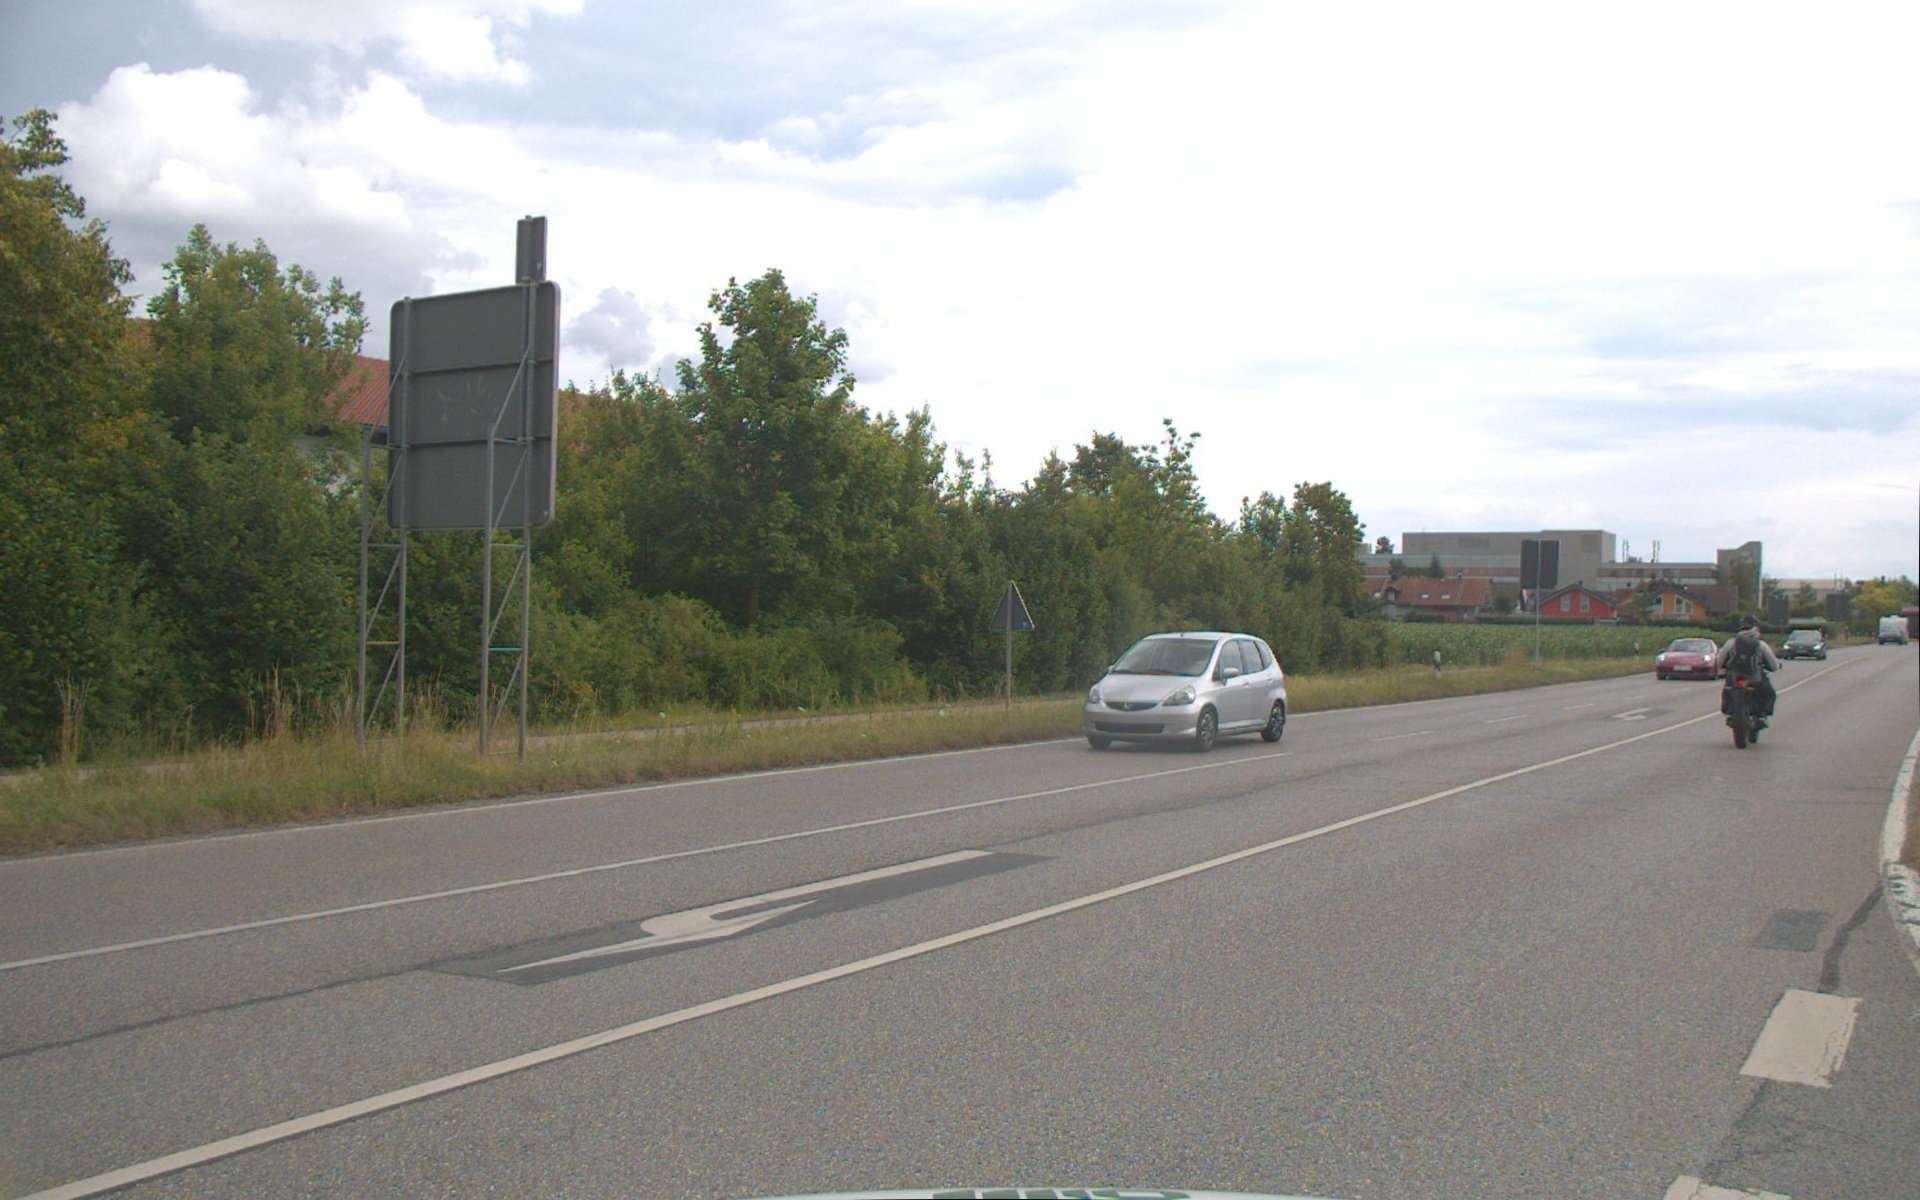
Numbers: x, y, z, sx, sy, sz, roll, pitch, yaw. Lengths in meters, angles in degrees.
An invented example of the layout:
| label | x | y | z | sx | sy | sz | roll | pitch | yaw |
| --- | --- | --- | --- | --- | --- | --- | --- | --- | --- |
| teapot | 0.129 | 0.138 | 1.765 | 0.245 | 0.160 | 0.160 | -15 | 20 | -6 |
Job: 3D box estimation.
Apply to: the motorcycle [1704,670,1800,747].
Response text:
| label | x | y | z | sx | sy | sz | roll | pitch | yaw |
| --- | --- | --- | --- | --- | --- | --- | --- | --- | --- |
| motorcycle | 10.679 | 1.436 | 22.259 | 0.924 | 0.905 | 2.140 | 1 | -1 | 32 |

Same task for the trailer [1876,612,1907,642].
| label | x | y | z | sx | sy | sz | roll | pitch | yaw |
| --- | --- | --- | --- | --- | --- | --- | --- | --- | --- |
| trailer | 91.013 | 2.653 | 161.522 | 2.283 | 2.777 | 7.821 | 0 | -1 | 32 |

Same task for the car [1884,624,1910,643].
| label | x | y | z | sx | sy | sz | roll | pitch | yaw |
| --- | --- | --- | --- | --- | --- | --- | --- | --- | --- |
| car | 88.301 | 3.123 | 155.919 | 1.957 | 1.729 | 4.663 | 1 | -1 | 32 |

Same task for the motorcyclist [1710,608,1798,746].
| label | x | y | z | sx | sy | sz | roll | pitch | yaw |
| --- | --- | --- | --- | --- | --- | --- | --- | --- | --- |
| motorcyclist | 10.709 | 1.019 | 22.294 | 0.924 | 1.780 | 1.197 | 1 | -1 | 32 |

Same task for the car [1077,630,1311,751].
| label | x | y | z | sx | sy | sz | roll | pitch | yaw |
| --- | --- | --- | --- | --- | --- | --- | --- | --- | --- |
| car | 3.212 | 1.135 | 22.113 | 1.698 | 1.457 | 3.925 | -1 | -1 | 31 |

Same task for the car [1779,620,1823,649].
| label | x | y | z | sx | sy | sz | roll | pitch | yaw |
| --- | --- | --- | --- | --- | --- | --- | --- | --- | --- |
| car | 43.351 | 1.758 | 85.220 | 1.638 | 1.454 | 4.292 | -1 | -1 | 31 |

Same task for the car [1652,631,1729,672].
| label | x | y | z | sx | sy | sz | roll | pitch | yaw |
| --- | --- | --- | --- | --- | --- | --- | --- | --- | --- |
| car | 24.082 | 1.661 | 54.440 | 1.739 | 1.263 | 4.200 | 0 | -1 | 32 |
